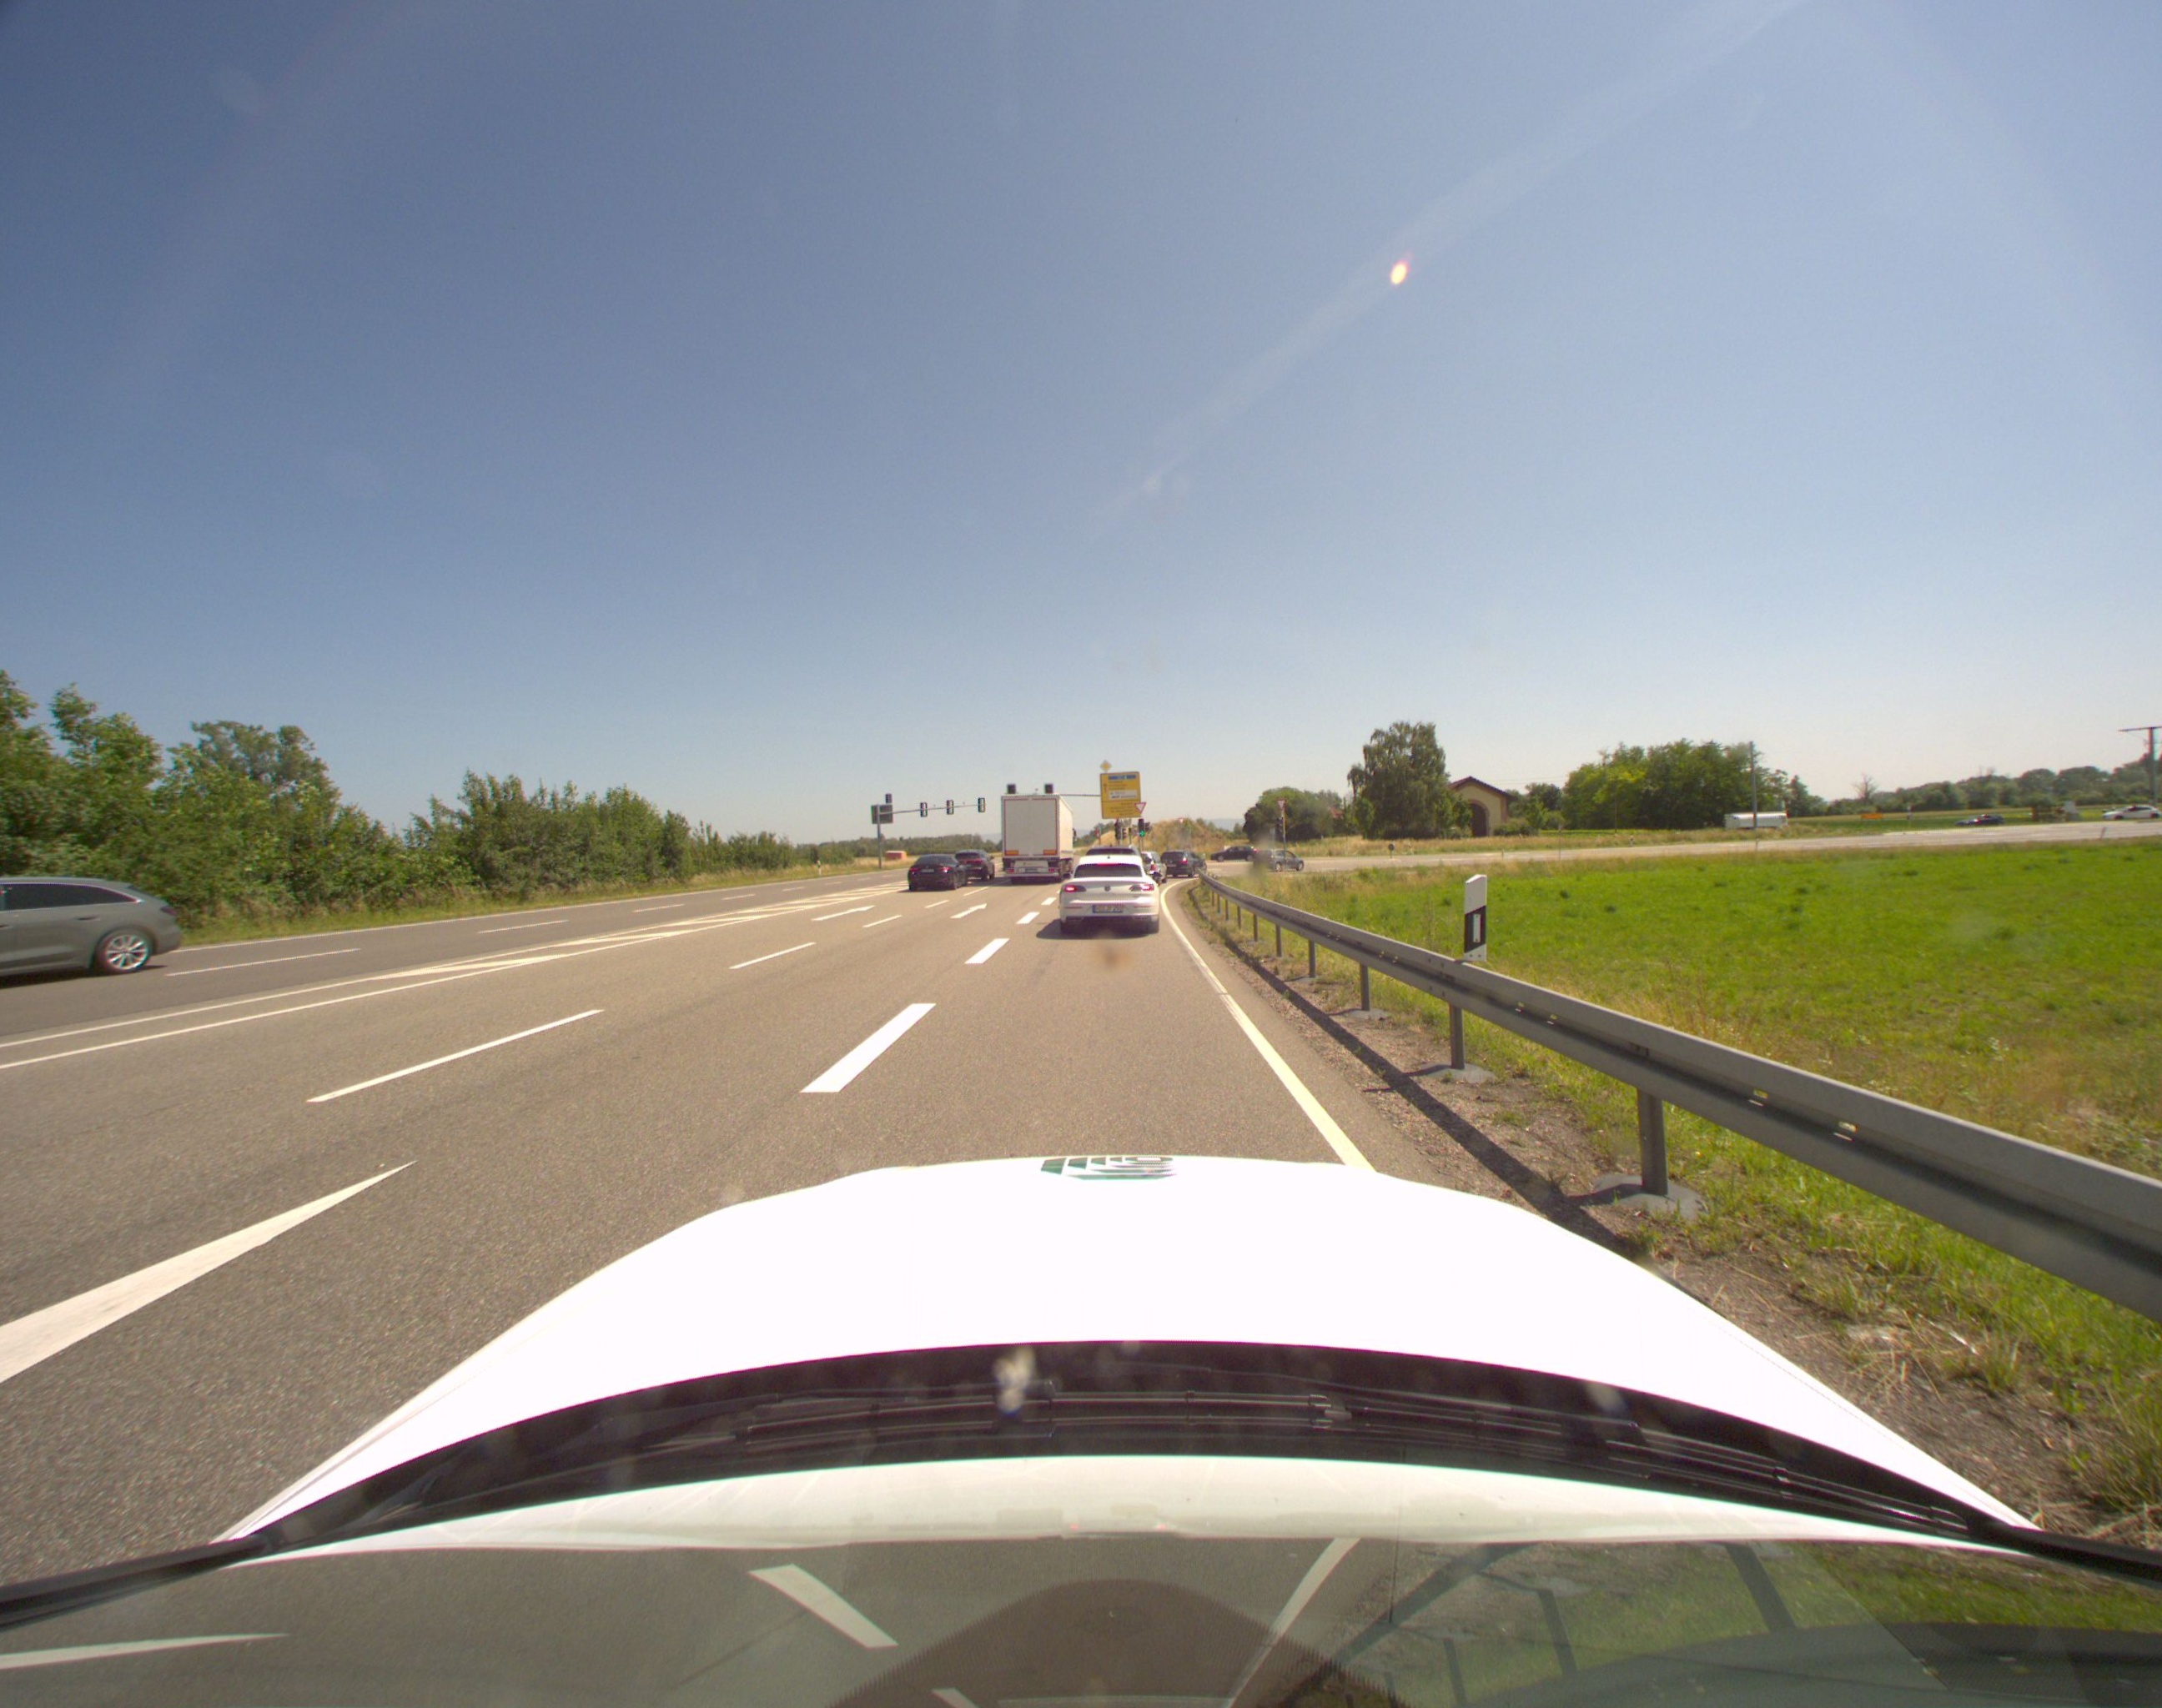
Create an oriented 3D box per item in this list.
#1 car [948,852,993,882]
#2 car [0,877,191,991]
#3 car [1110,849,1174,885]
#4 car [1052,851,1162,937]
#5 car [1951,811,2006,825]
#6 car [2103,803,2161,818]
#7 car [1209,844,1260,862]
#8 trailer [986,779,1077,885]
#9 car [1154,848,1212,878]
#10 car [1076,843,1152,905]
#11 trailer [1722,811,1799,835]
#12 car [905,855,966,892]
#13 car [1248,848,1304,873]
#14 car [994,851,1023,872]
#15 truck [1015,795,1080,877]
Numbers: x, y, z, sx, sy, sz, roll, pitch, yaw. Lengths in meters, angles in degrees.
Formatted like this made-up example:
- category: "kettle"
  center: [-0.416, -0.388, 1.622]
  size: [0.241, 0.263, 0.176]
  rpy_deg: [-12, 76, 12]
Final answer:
- category: "car"
  center: [-5.772, 0.648, 43.050]
  size: [1.803, 1.493, 4.021]
  rpy_deg: [-1, 0, 0]
- category: "car"
  center: [-14.733, 1.069, 10.339]
  size: [1.872, 1.398, 4.530]
  rpy_deg: [-1, 0, -1]
- category: "car"
  center: [2.635, 0.512, 34.129]
  size: [1.785, 1.429, 4.111]
  rpy_deg: [-1, 0, 17]
- category: "car"
  center: [0.525, 0.691, 16.204]
  size: [1.841, 1.433, 4.610]
  rpy_deg: [-1, 0, 2]
- category: "car"
  center: [97.635, -3.911, 88.633]
  size: [3.803, 1.387, 1.684]
  rpy_deg: [-1, 2, 9]
- category: "car"
  center: [111.062, -4.569, 85.761]
  size: [3.986, 1.332, 1.708]
  rpy_deg: [0, 3, 41]
- category: "car"
  center: [13.744, -0.113, 73.114]
  size: [4.240, 1.368, 1.778]
  rpy_deg: [-3, 1, 4]
- category: "trailer"
  center: [-2.161, -0.993, 41.749]
  size: [3.368, 4.542, 12.878]
  rpy_deg: [-1, 0, 2]
- category: "car"
  center: [5.415, 0.434, 42.726]
  size: [1.783, 1.476, 4.440]
  rpy_deg: [-1, 0, 24]
- category: "car"
  center: [1.058, 0.527, 23.631]
  size: [1.925, 1.616, 4.385]
  rpy_deg: [-1, 0, 6]
- category: "trailer"
  center: [78.132, -3.581, 93.740]
  size: [6.330, 2.455, 2.691]
  rpy_deg: [-3, 2, 6]
- category: "car"
  center: [-5.942, 0.759, 33.728]
  size: [1.803, 1.398, 4.021]
  rpy_deg: [-1, 0, 0]
- category: "car"
  center: [12.745, 0.425, 53.106]
  size: [1.783, 1.522, 3.905]
  rpy_deg: [-1, 0, 44]
- category: "car"
  center: [-5.588, 0.557, 63.109]
  size: [1.803, 1.493, 4.021]
  rpy_deg: [-1, 0, 0]
- category: "truck"
  center: [-1.892, -1.034, 48.773]
  size: [3.368, 4.542, 6.375]
  rpy_deg: [-1, 0, 2]
